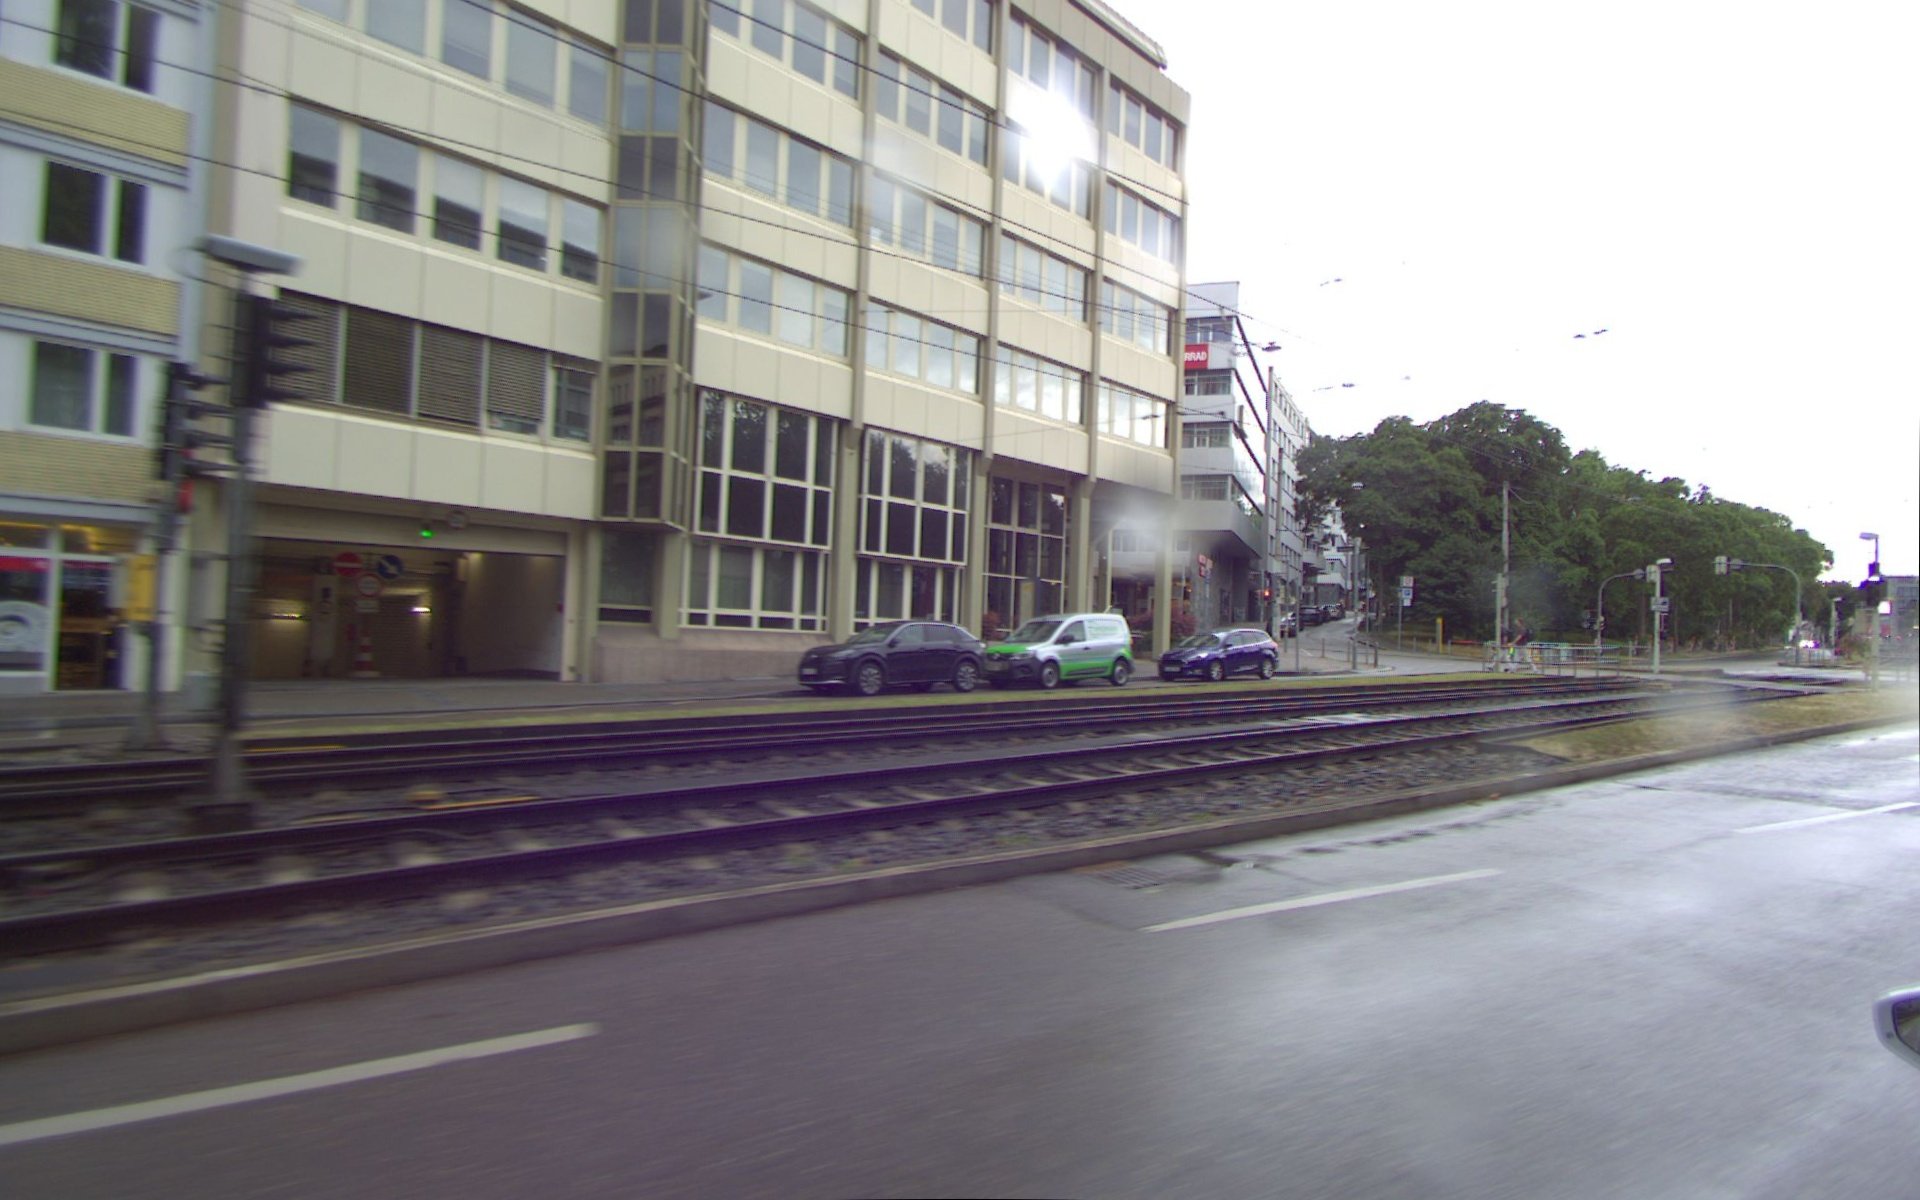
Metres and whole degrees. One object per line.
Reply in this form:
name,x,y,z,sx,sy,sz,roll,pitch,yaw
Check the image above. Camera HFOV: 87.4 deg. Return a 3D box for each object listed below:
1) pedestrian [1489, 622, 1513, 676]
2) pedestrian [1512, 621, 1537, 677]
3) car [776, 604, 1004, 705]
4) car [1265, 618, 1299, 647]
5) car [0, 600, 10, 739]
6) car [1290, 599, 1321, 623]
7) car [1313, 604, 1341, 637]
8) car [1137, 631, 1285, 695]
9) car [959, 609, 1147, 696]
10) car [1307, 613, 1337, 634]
pedestrian,18.683,1.670,34.672,0.630,1.811,0.809,3,0,32
pedestrian,18.810,1.621,33.485,0.630,1.811,0.809,3,0,32
car,-1.417,1.155,21.696,4.662,1.874,1.975,3,-1,-43
car,21.902,2.169,68.440,1.960,1.817,4.002,3,-1,15
car,-13.638,0.773,10.948,4.662,1.696,1.975,3,-1,-43
car,29.055,0.943,84.324,1.962,1.817,4.207,3,-1,25
car,35.405,1.964,96.775,1.963,3.037,4.205,3,0,27
car,7.349,1.815,29.154,4.517,1.603,1.975,3,-1,-43
car,2.389,1.278,24.809,4.662,1.874,1.975,3,-1,-43
car,33.182,2.143,92.013,1.963,1.817,4.205,3,-1,27
